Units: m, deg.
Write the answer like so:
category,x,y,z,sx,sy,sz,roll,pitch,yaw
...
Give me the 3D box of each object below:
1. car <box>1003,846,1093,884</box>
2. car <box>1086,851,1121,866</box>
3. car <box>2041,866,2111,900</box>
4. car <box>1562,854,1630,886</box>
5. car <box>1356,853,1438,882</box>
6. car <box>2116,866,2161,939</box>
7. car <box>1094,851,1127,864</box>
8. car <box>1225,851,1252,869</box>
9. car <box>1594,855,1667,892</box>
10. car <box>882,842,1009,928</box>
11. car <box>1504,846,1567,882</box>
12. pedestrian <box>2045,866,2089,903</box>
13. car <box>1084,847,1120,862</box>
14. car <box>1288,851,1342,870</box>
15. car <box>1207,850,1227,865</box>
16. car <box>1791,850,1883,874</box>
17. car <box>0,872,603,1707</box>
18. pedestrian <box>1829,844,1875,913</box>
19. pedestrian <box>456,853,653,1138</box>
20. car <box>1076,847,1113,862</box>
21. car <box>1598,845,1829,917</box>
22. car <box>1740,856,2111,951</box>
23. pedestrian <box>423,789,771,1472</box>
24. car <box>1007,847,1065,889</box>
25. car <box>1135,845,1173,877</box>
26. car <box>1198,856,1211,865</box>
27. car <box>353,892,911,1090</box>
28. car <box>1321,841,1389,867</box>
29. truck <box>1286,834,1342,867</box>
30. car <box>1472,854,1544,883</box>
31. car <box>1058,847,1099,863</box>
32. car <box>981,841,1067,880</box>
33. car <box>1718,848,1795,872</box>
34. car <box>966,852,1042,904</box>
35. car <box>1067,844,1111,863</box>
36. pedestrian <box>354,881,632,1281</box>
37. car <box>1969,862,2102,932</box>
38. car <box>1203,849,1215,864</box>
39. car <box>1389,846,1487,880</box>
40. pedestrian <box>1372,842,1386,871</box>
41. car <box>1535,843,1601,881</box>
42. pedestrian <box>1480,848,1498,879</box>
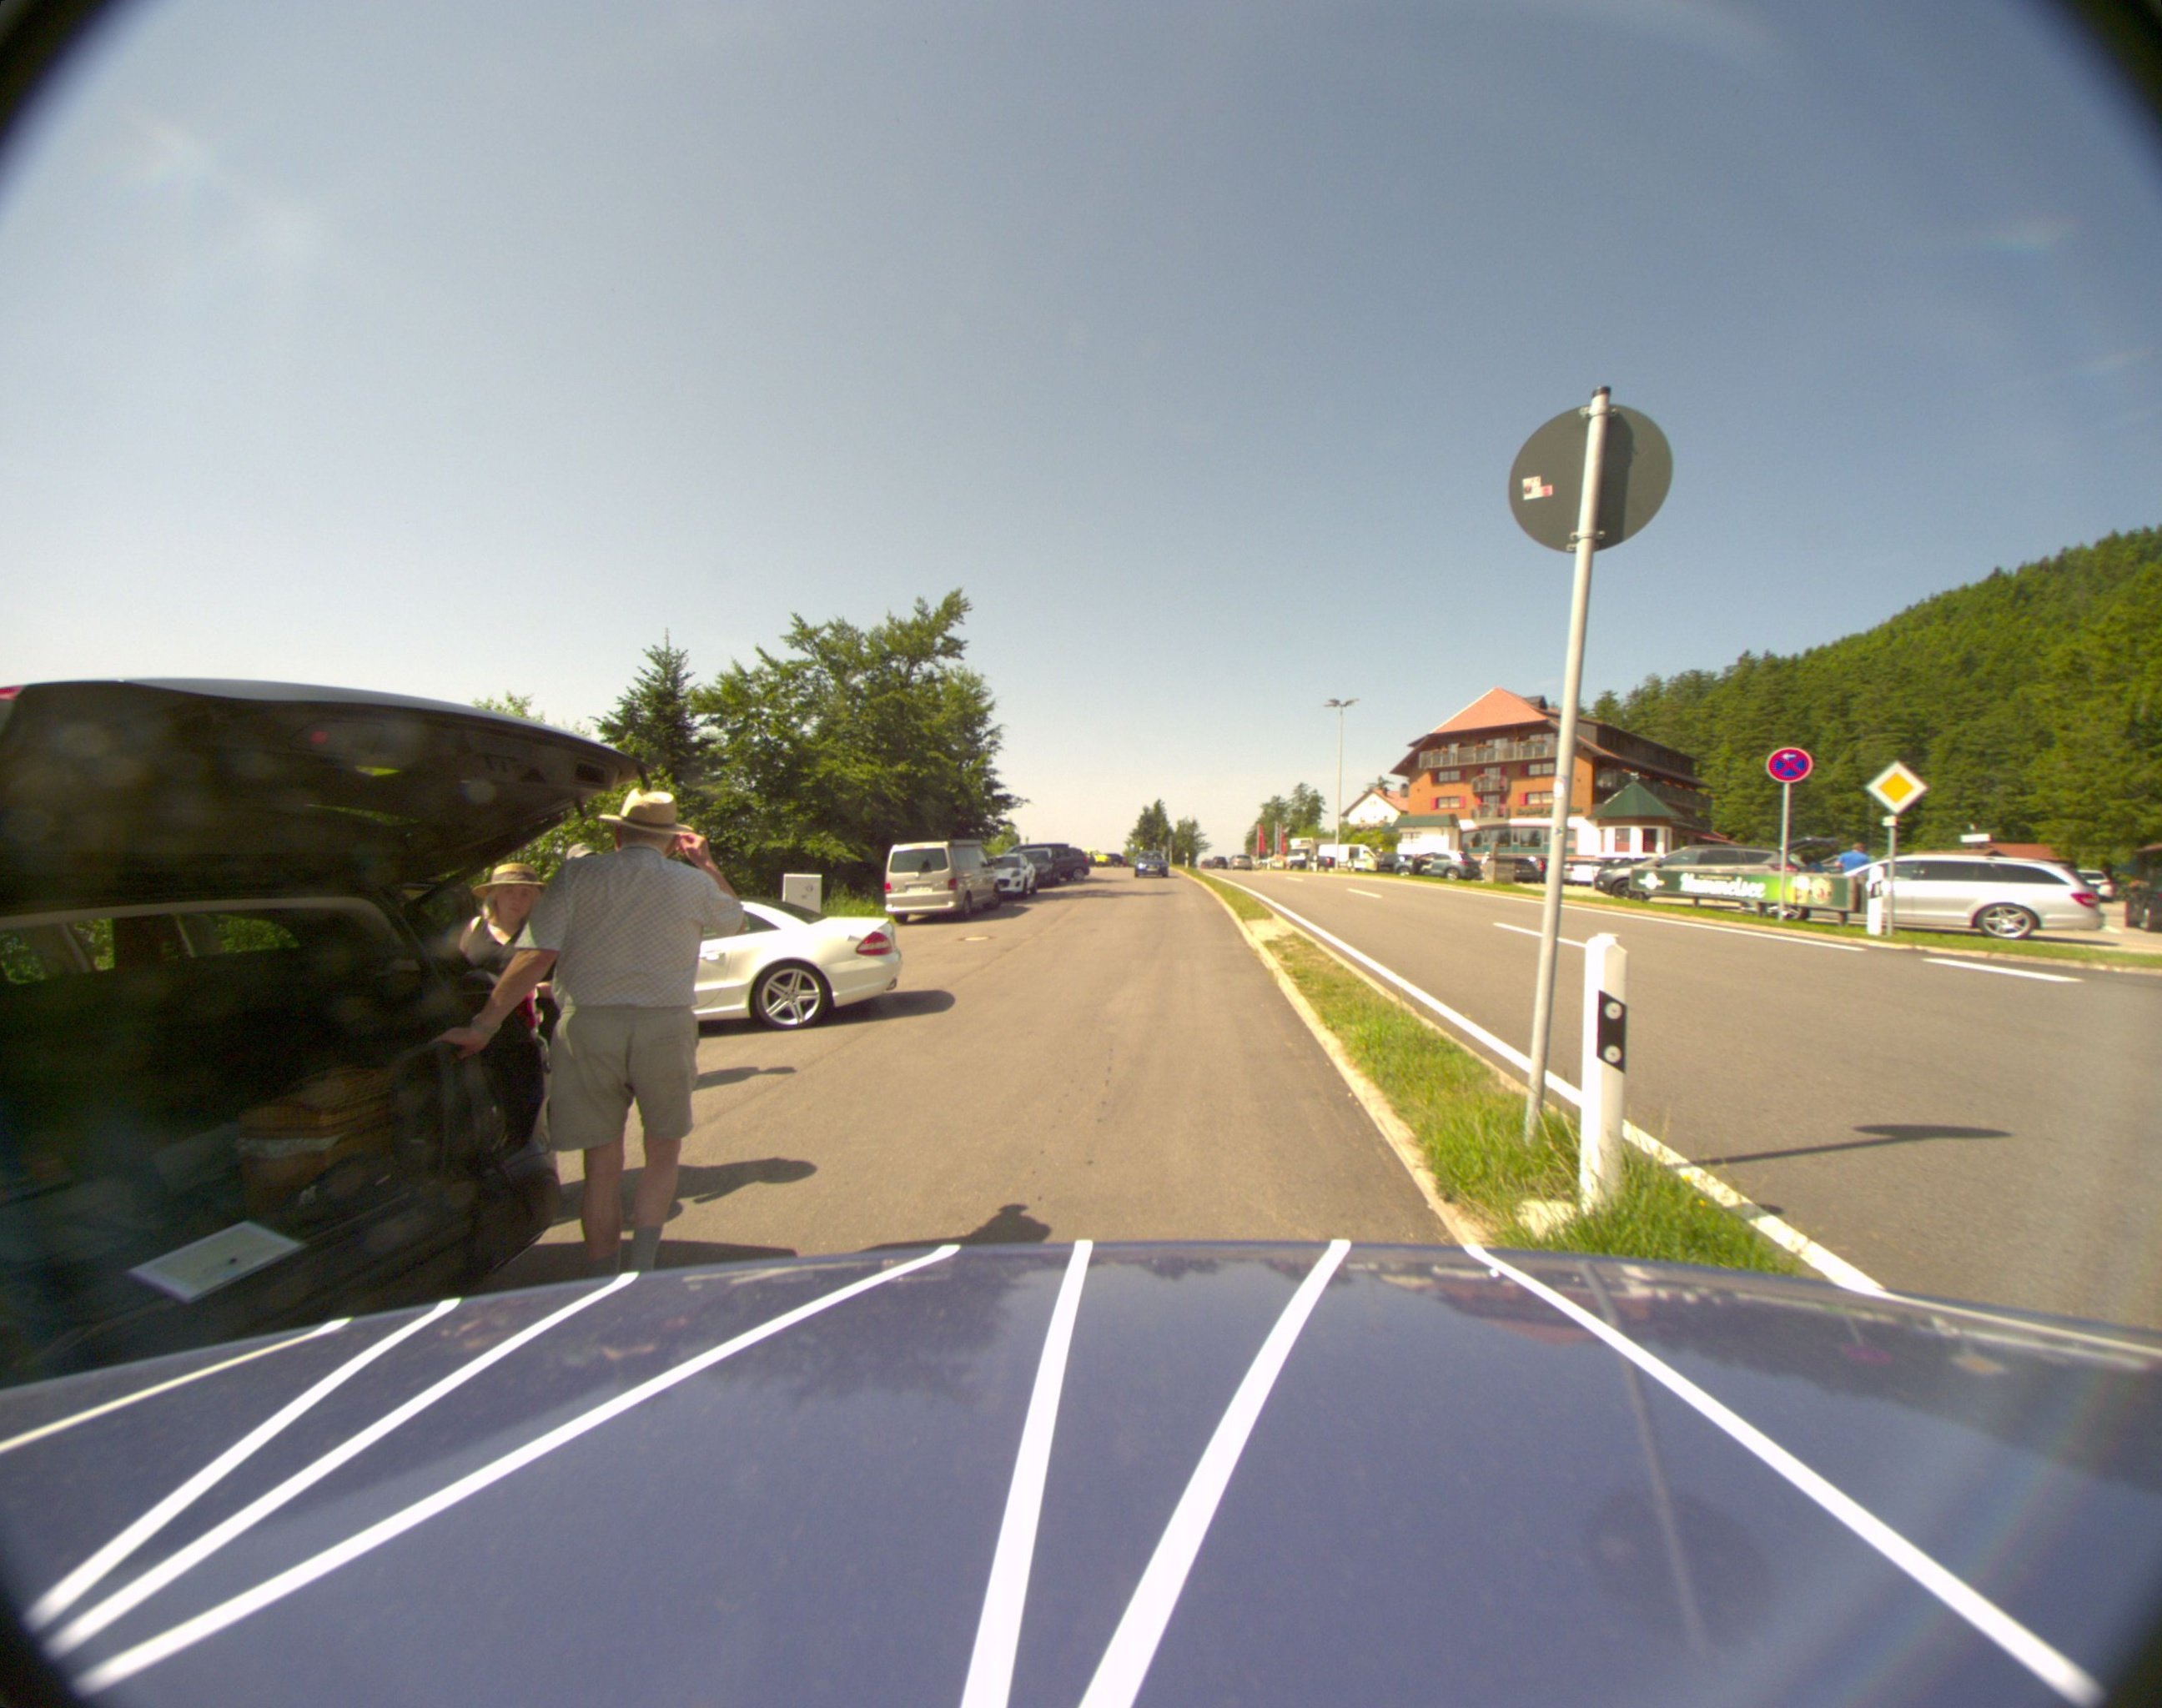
category,x,y,z,sx,sy,sz,roll,pitch,yaw
car,-1.621,0.508,36.731,4.002,1.609,1.874,-3,1,-15
car,2.688,0.518,89.456,3.907,1.605,1.877,1,1,7
car,51.939,1.466,39.729,4.008,1.522,1.994,-1,3,-40
car,26.798,0.804,39.479,4.103,1.504,1.818,0,1,-40
car,19.396,0.793,46.715,1.828,1.619,4.258,0,1,-43
car,25.730,1.128,17.471,4.008,1.522,1.994,-1,3,-40
car,3.599,0.404,93.329,3.907,1.605,1.877,1,1,7
car,14.175,0.497,68.587,1.883,1.466,4.715,-1,1,5
car,26.239,0.896,36.237,4.103,1.619,1.818,0,1,-40
car,-3.416,0.712,20.183,1.860,1.924,4.611,-3,0,8
car,27.174,0.557,45.400,4.008,2.002,1.994,-1,1,-40
pedestrian,45.609,1.384,35.156,0.931,1.646,0.881,1,1,24
car,2.454,0.034,86.703,3.907,1.605,1.877,1,1,7
car,20.435,0.581,66.434,4.082,1.518,1.828,2,1,44
car,16.366,0.387,91.639,1.998,1.638,4.568,1,1,5
car,58.480,0.600,58.843,1.924,1.706,4.831,0,1,-41
car,-4.045,1.031,2.033,4.353,1.617,1.870,-4,1,6
pedestrian,18.781,0.567,18.527,0.744,1.626,0.849,2,2,45
pedestrian,-3.586,0.911,5.251,0.735,1.790,0.748,-2,2,-2
car,1.550,0.033,83.943,3.907,1.605,1.877,1,1,7
car,16.825,0.633,20.402,1.726,1.646,4.538,0,2,-44
car,15.636,0.809,14.460,1.726,1.422,4.488,0,1,-43
pedestrian,-1.517,0.756,2.536,0.758,1.859,0.736,-1,-1,-14
car,-1.865,0.556,32.622,1.874,1.609,4.001,-3,1,4
car,3.870,0.320,40.417,1.874,1.605,3.914,1,1,5
car,20.523,1.065,126.509,1.709,1.429,4.451,1,1,5
car,-3.997,1.198,7.601,4.413,1.288,1.754,-3,0,-12
car,30.610,0.003,84.793,6.948,2.775,2.671,1,1,23
truck,28.428,-0.427,92.394,2.876,3.798,9.036,-1,0,42
car,23.374,0.774,41.768,1.721,1.422,3.999,1,1,1
car,-0.219,0.064,77.804,3.907,1.605,1.877,1,1,7
car,-3.234,0.343,42.783,4.462,1.914,1.874,-3,1,-15
car,51.054,0.442,57.503,1.924,1.706,4.082,0,1,-41
car,-2.575,0.774,26.368,1.874,1.538,4.001,-3,1,4
car,0.829,-0.034,80.670,4.454,1.914,1.877,1,1,7
pedestrian,-2.561,0.947,3.372,0.715,1.604,0.536,-2,2,3
car,25.328,1.049,20.267,4.008,1.522,1.994,-1,3,-40
car,24.601,0.383,146.452,2.015,2.735,5.919,1,1,7
car,18.718,0.452,39.944,1.828,1.619,4.258,0,1,-43
pedestrian,21.055,0.181,53.667,0.717,2.002,0.803,0,1,3
car,27.448,0.409,42.793,4.008,2.002,1.994,-1,1,-40
pedestrian,21.609,0.470,40.218,0.744,1.615,0.684,2,2,34
